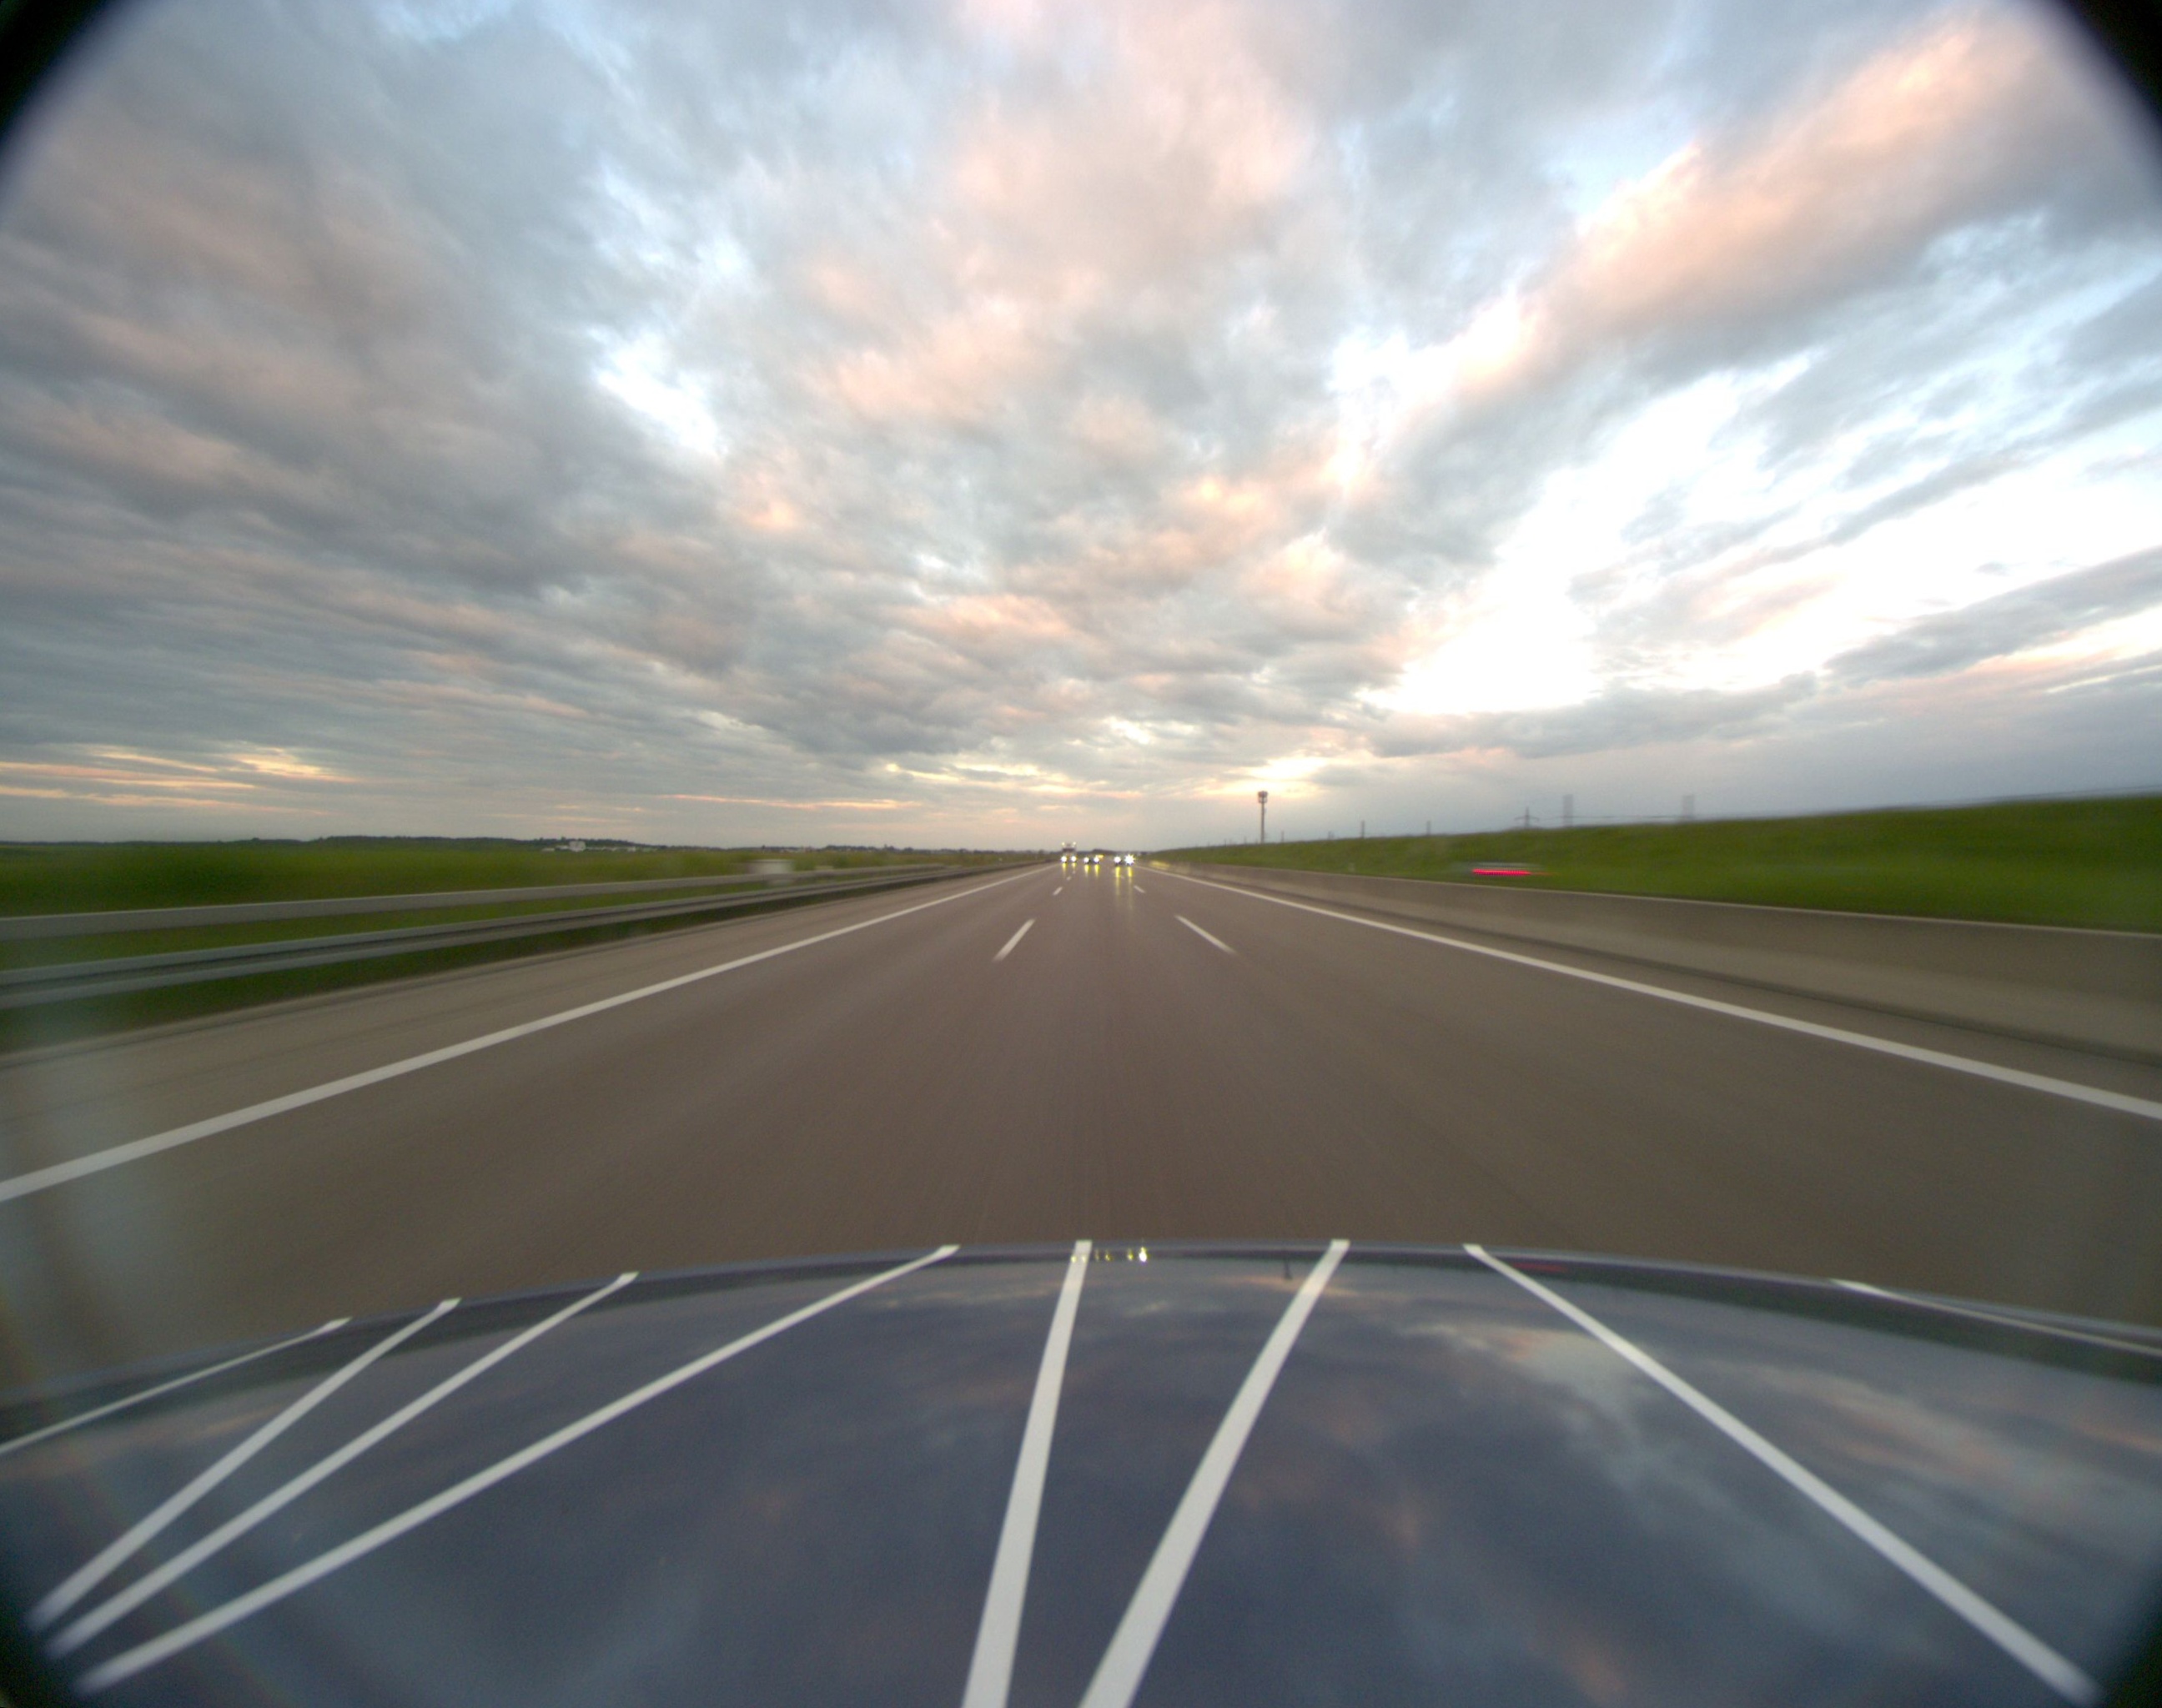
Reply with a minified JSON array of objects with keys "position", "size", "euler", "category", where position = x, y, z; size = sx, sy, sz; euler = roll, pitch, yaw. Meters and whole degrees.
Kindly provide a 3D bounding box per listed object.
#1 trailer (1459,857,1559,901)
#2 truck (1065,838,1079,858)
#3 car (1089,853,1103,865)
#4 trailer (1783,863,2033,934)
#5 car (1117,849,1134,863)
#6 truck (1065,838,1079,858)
[{"position":[16.309,0.890,29.197],"size":[1.689,1.543,3.929],"euler":[0,0,1],"category":"trailer"},{"position":[-1.875,-1.216,156.311],"size":[2.597,3.999,5.859],"euler":[-1,0,1],"category":"truck"},{"position":[2.297,0.757,114.273],"size":[1.998,1.652,4.851],"euler":[-2,0,1],"category":"car"},{"position":[19.650,0.985,18.366],"size":[1.722,1.455,4.000],"euler":[0,0,1],"category":"trailer"},{"position":[5.611,0.272,96.468],"size":[1.998,1.652,4.000],"euler":[-2,0,1],"category":"car"},{"position":[-1.799,-1.262,162.601],"size":[2.597,3.999,12.985],"euler":[-1,0,1],"category":"truck"}]
